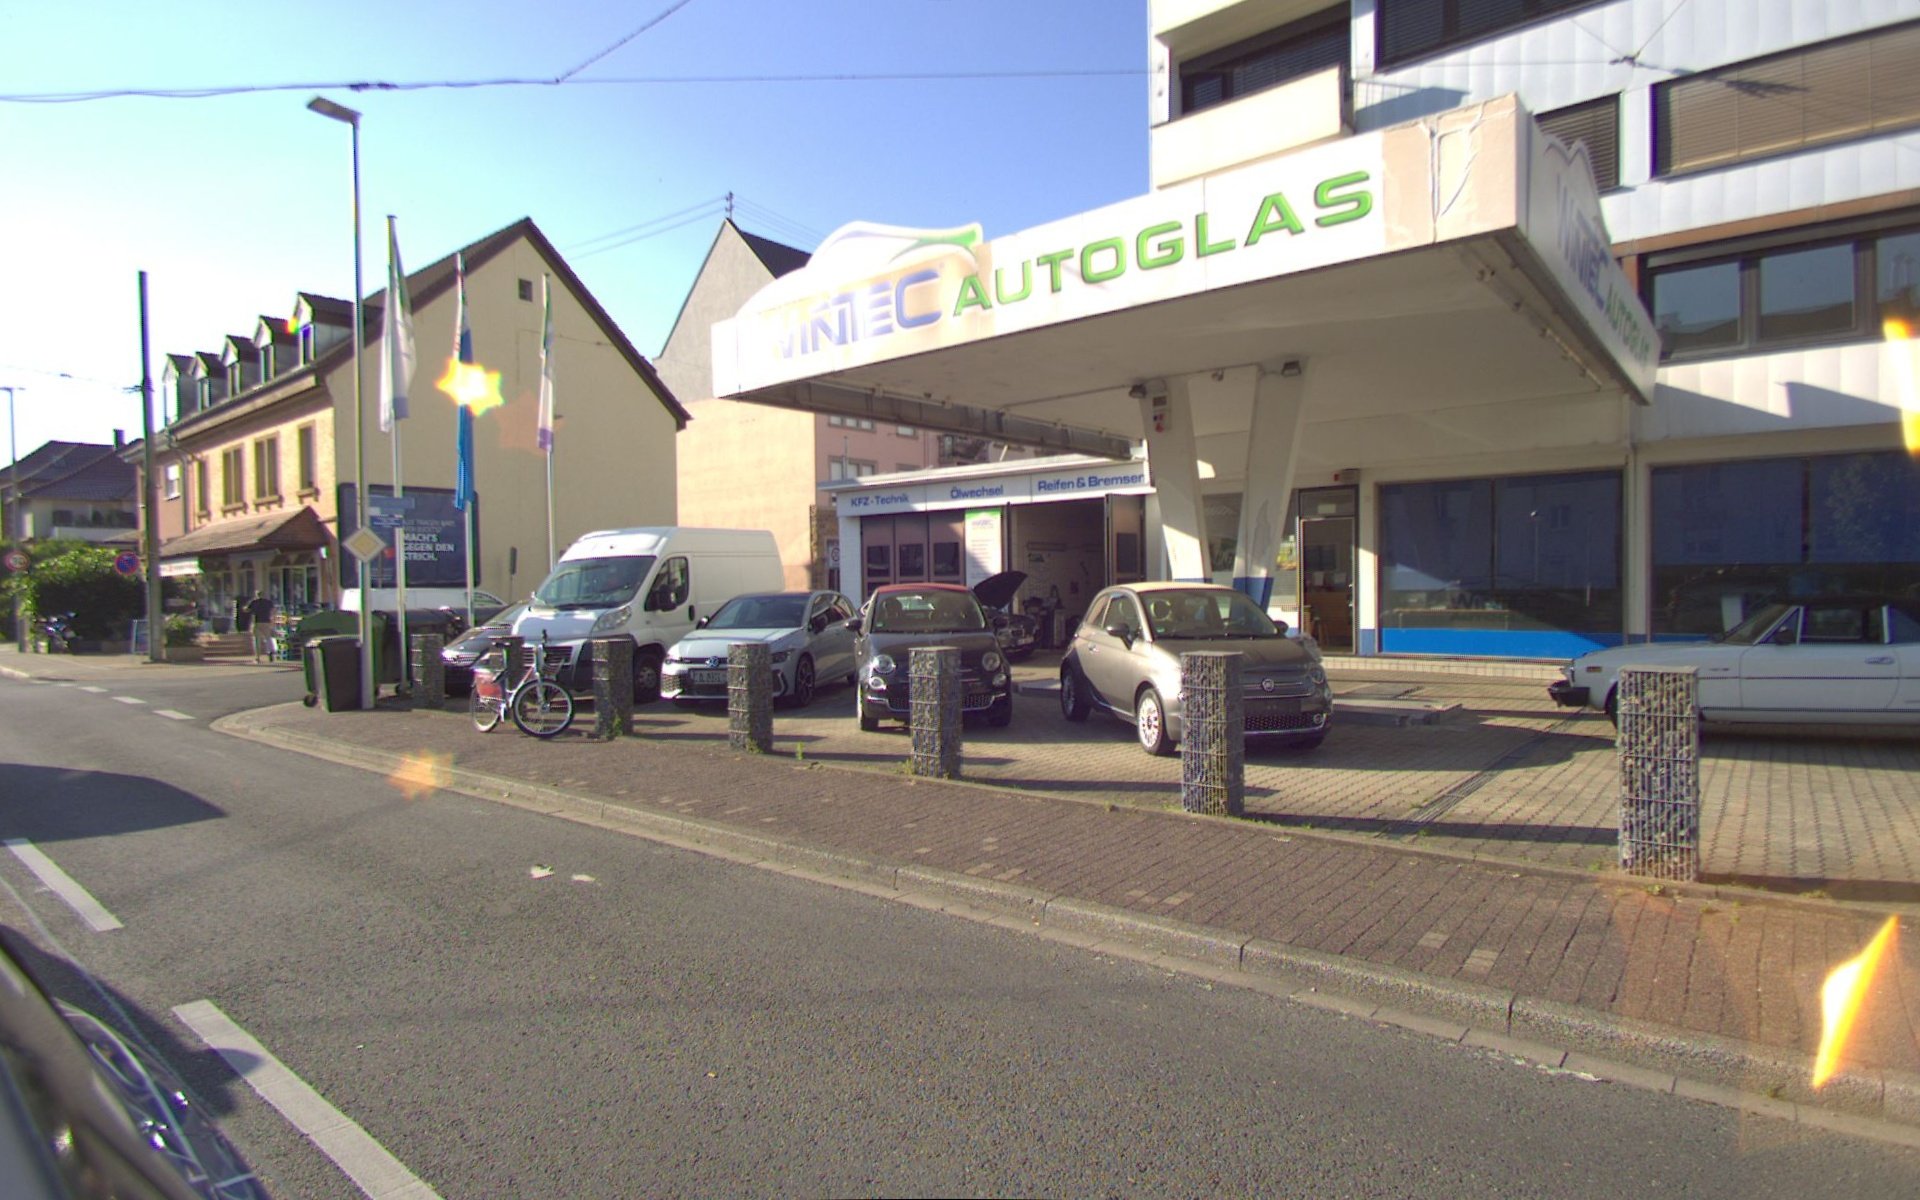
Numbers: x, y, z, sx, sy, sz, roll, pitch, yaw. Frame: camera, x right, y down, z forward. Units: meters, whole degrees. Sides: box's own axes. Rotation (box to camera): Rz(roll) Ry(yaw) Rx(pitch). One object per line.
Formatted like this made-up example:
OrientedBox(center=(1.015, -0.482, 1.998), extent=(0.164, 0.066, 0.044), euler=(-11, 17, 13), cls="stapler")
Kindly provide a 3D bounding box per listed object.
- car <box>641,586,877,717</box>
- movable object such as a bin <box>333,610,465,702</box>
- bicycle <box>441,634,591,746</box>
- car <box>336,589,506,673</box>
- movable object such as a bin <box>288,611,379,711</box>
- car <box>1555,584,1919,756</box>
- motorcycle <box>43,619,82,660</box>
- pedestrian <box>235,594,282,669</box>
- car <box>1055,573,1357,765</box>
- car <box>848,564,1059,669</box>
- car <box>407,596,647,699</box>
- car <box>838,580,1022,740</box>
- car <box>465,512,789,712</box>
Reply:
OrientedBox(center=(-2.532, 0.590, 13.804), extent=(1.725, 1.508, 4.016), euler=(-1, 0, 12), cls="car")
OrientedBox(center=(-9.577, 0.917, 17.369), extent=(1.039, 1.475, 1.787), euler=(-1, 0, 15), cls="movable object such as a bin")
OrientedBox(center=(-4.896, 0.943, 11.121), extent=(1.789, 1.094, 0.716), euler=(-1, 1, 37), cls="bicycle")
OrientedBox(center=(-13.893, 0.741, 26.252), extent=(1.449, 2.029, 3.628), euler=(-1, 0, 37), cls="car")
OrientedBox(center=(-9.706, 0.919, 15.713), extent=(1.030, 1.475, 0.798), euler=(-1, 0, -18), cls="movable object such as a bin")
OrientedBox(center=(7.385, 0.544, 8.570), extent=(3.898, 1.308, 1.506), euler=(-1, -1, 37), cls="car")
OrientedBox(center=(-27.967, 1.207, 31.529), extent=(2.186, 1.226, 0.699), euler=(-1, 0, 43), cls="motorcycle")
OrientedBox(center=(-17.921, 0.796, 25.854), extent=(0.766, 1.866, 0.812), euler=(-1, 0, 40), cls="pedestrian")
OrientedBox(center=(2.153, 0.537, 9.793), extent=(1.517, 1.497, 3.381), euler=(-1, 0, -11), cls="car")
OrientedBox(center=(-0.206, 0.323, 20.919), extent=(4.255, 1.958, 1.720), euler=(-1, 0, 40), cls="car")
OrientedBox(center=(-7.062, 0.706, 17.008), extent=(1.725, 1.488, 4.016), euler=(-1, 0, 12), cls="car")
OrientedBox(center=(-0.483, 0.566, 11.508), extent=(1.569, 1.508, 3.443), euler=(-1, 0, -10), cls="car")
OrientedBox(center=(-4.688, 0.133, 15.223), extent=(2.098, 2.472, 4.963), euler=(-1, 0, 18), cls="car")
